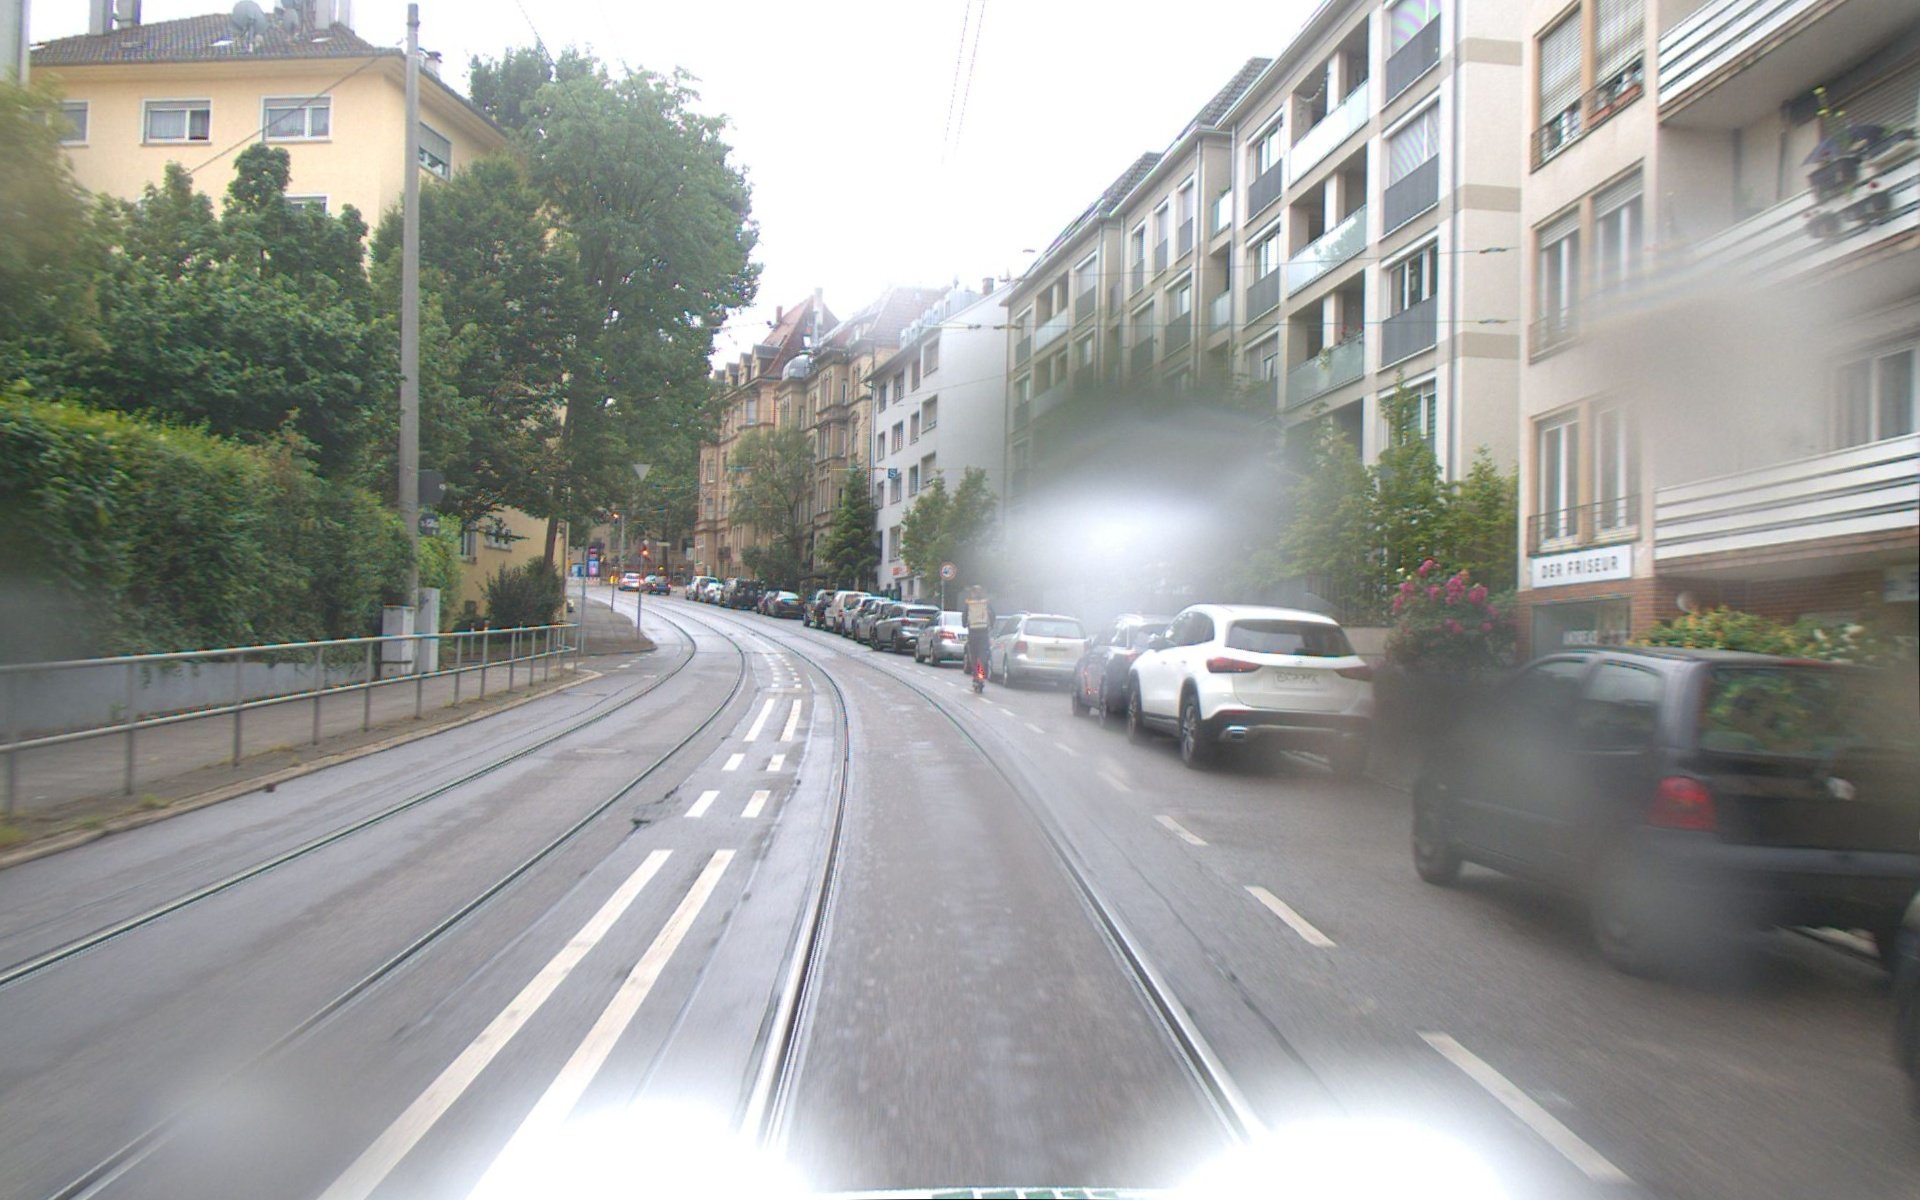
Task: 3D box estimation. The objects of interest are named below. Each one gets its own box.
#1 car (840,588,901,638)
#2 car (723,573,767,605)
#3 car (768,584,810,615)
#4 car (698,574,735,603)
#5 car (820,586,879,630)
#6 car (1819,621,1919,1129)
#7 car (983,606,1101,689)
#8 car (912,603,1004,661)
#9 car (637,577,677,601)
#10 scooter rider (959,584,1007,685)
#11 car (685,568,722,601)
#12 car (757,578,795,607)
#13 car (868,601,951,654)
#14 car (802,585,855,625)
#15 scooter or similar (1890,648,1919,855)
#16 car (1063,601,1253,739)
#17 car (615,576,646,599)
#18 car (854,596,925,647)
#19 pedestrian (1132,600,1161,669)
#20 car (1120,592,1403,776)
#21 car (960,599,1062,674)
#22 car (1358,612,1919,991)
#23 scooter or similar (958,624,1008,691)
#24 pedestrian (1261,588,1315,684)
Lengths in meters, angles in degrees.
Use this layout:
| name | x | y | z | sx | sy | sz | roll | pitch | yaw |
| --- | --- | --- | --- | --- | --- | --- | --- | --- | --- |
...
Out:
| name | x | y | z | sx | sy | sz | roll | pitch | yaw |
| --- | --- | --- | --- | --- | --- | --- | --- | --- | --- |
| car | -3.618 | 0.489 | 66.423 | 1.736 | 1.818 | 4.235 | 3 | 0 | -12 |
| car | -13.577 | -0.718 | 104.260 | 1.996 | 1.856 | 4.347 | 3 | 0 | -18 |
| car | -9.391 | -0.047 | 90.591 | 1.736 | 1.544 | 4.125 | 3 | 0 | -14 |
| car | -16.940 | -0.827 | 115.050 | 1.994 | 1.856 | 4.123 | 3 | 0 | -15 |
| car | -4.886 | 0.334 | 72.522 | 1.737 | 1.713 | 4.232 | 3 | 0 | -15 |
| car | 3.675 | 0.846 | 3.321 | 1.649 | 1.462 | 4.063 | 2 | 0 | -2 |
| car | 1.603 | 0.921 | 33.868 | 1.630 | 1.497 | 4.501 | 3 | -1 | -7 |
| car | -0.116 | 0.844 | 45.499 | 1.730 | 1.460 | 4.627 | 1 | 0 | -10 |
| car | -24.422 | -0.893 | 133.314 | 2.005 | 1.764 | 4.102 | 3 | 0 | -28 |
| scooter rider | 0.410 | 0.601 | 29.539 | 0.611 | 1.735 | 0.842 | 4 | 0 | -9 |
| car | -18.669 | -1.143 | 120.040 | 1.996 | 2.256 | 4.120 | 3 | 0 | -17 |
| car | -10.628 | -0.465 | 95.282 | 1.622 | 1.563 | 3.873 | -1 | 1 | -15 |
| car | -1.739 | 0.877 | 55.050 | 1.738 | 1.643 | 4.229 | 1 | 0 | -16 |
| car | -6.150 | 0.207 | 77.156 | 1.736 | 1.713 | 4.233 | 3 | 0 | -14 |
| scooter or similar | 6.208 | 0.941 | 9.832 | 0.461 | 1.256 | 1.193 | -1 | 1 | -18 |
| car | 2.589 | 0.870 | 22.732 | 1.668 | 1.538 | 4.567 | 4 | 0 | -4 |
| car | -27.629 | -1.038 | 138.554 | 1.829 | 1.764 | 4.115 | 3 | 0 | -20 |
| car | -2.641 | 0.768 | 60.884 | 1.737 | 1.643 | 4.233 | 3 | 0 | -14 |
| pedestrian | 4.307 | 0.780 | 38.248 | 0.558 | 1.569 | 0.650 | -1 | 0 | -4 |
| car | 3.057 | 0.788 | 17.698 | 1.802 | 1.600 | 4.243 | 4 | 0 | -6 |
| car | 1.138 | 0.808 | 38.451 | 1.670 | 1.538 | 3.707 | 3 | 0 | -8 |
| car | 3.592 | 0.864 | 9.000 | 1.526 | 1.462 | 4.300 | 2 | 0 | -4 |
| scooter or similar | 0.402 | 1.012 | 29.608 | 0.504 | 1.067 | 2.005 | 4 | 0 | -9 |
| pedestrian | 5.483 | 0.589 | 27.677 | 0.559 | 1.569 | 0.927 | -1 | 0 | -12 |
